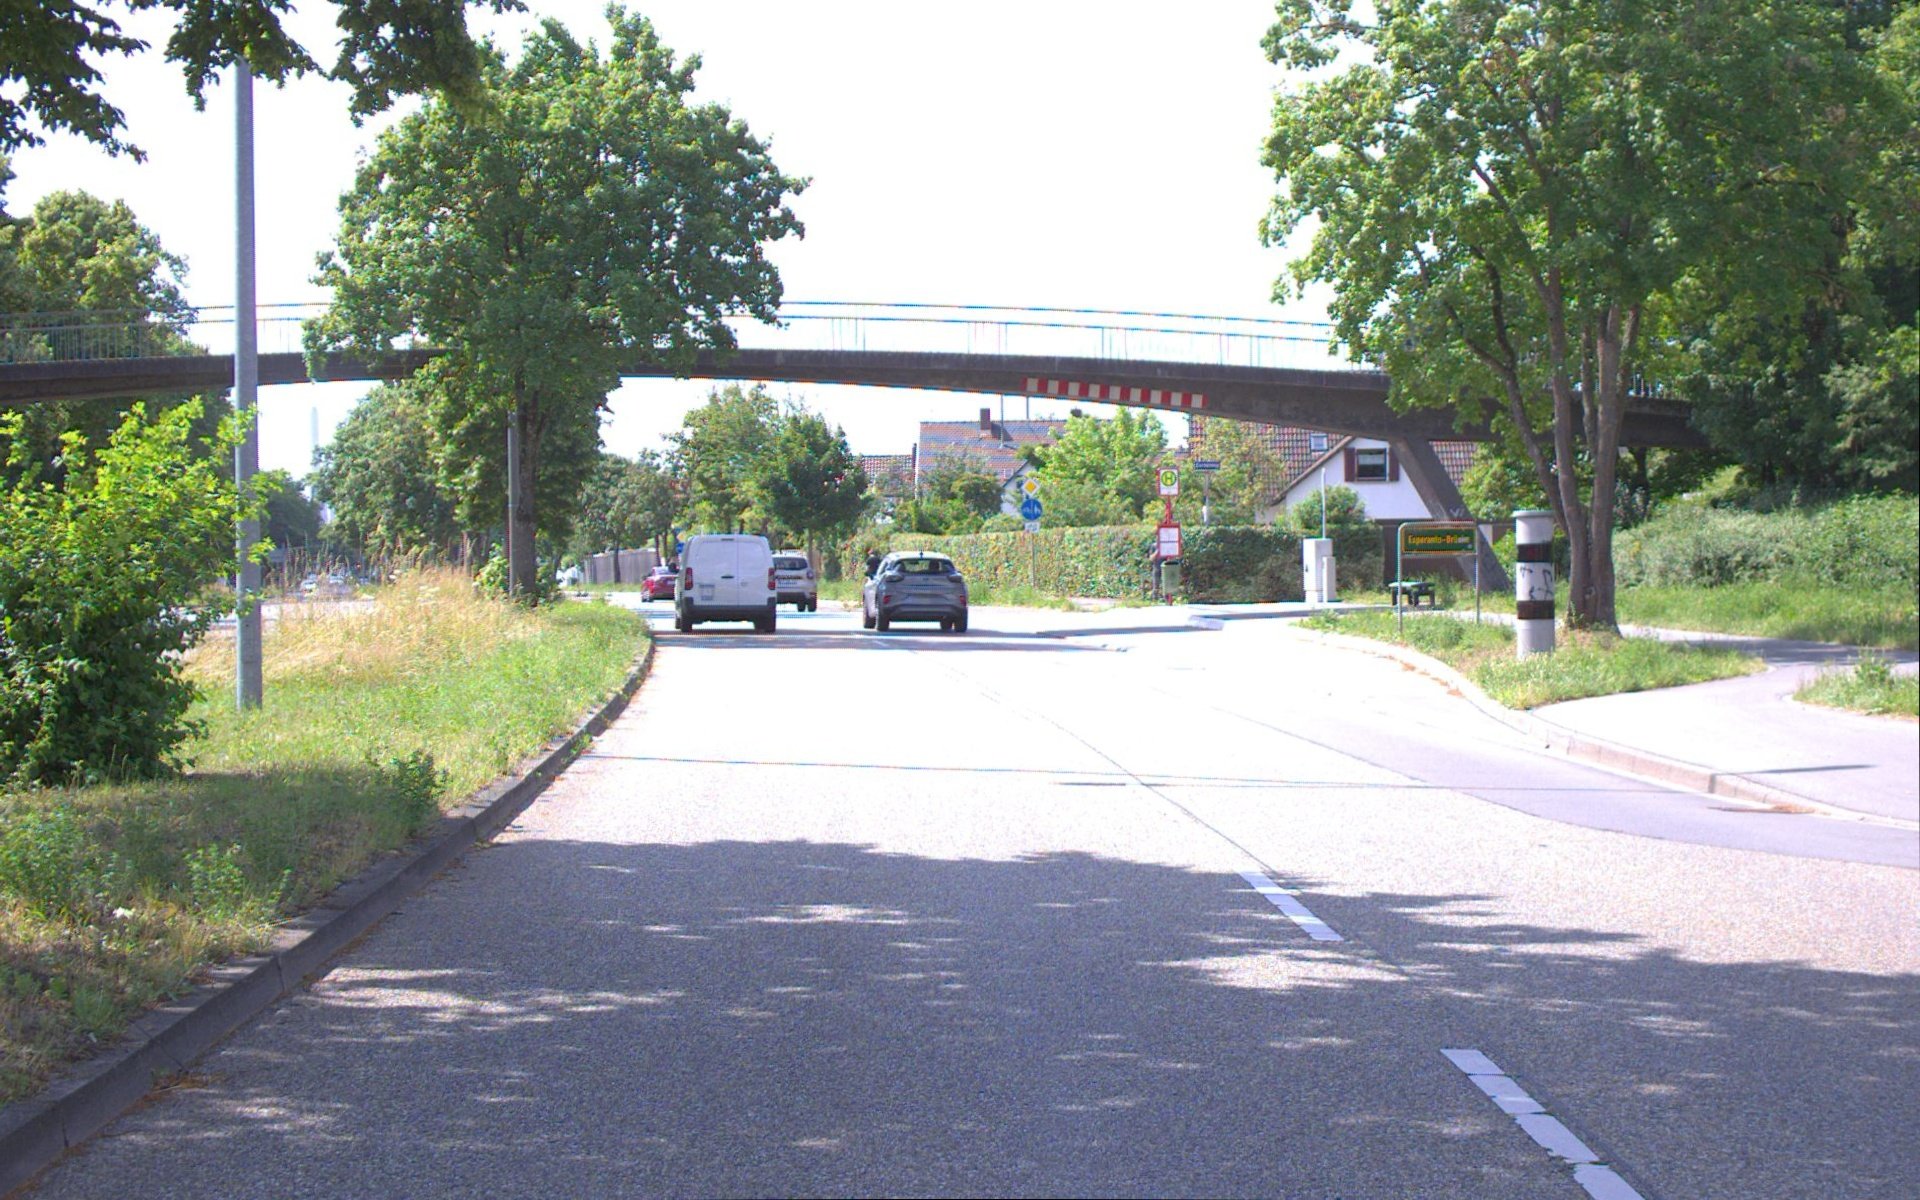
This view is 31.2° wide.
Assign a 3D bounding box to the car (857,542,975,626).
[{"bbox_3d":[-0.904,-0.311,67.638,1.875,1.583,4.185,0,0,-7],"label":"car"}]

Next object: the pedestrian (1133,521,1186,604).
[{"bbox_3d":[4.563,-0.854,78.806,0.954,1.818,1.088,-2,-2,-7],"label":"pedestrian"}]

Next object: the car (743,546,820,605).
[{"bbox_3d":[-5.129,-0.696,98.337,1.875,1.646,4.001,0,0,-8],"label":"car"}]

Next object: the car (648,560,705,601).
[{"bbox_3d":[-11.186,-0.774,135.401,1.880,1.582,4.001,0,1,-10],"label":"car"}]

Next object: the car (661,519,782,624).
[{"bbox_3d":[-4.575,-0.548,65.388,2.065,1.905,4.647,0,1,-7],"label":"car"}]
